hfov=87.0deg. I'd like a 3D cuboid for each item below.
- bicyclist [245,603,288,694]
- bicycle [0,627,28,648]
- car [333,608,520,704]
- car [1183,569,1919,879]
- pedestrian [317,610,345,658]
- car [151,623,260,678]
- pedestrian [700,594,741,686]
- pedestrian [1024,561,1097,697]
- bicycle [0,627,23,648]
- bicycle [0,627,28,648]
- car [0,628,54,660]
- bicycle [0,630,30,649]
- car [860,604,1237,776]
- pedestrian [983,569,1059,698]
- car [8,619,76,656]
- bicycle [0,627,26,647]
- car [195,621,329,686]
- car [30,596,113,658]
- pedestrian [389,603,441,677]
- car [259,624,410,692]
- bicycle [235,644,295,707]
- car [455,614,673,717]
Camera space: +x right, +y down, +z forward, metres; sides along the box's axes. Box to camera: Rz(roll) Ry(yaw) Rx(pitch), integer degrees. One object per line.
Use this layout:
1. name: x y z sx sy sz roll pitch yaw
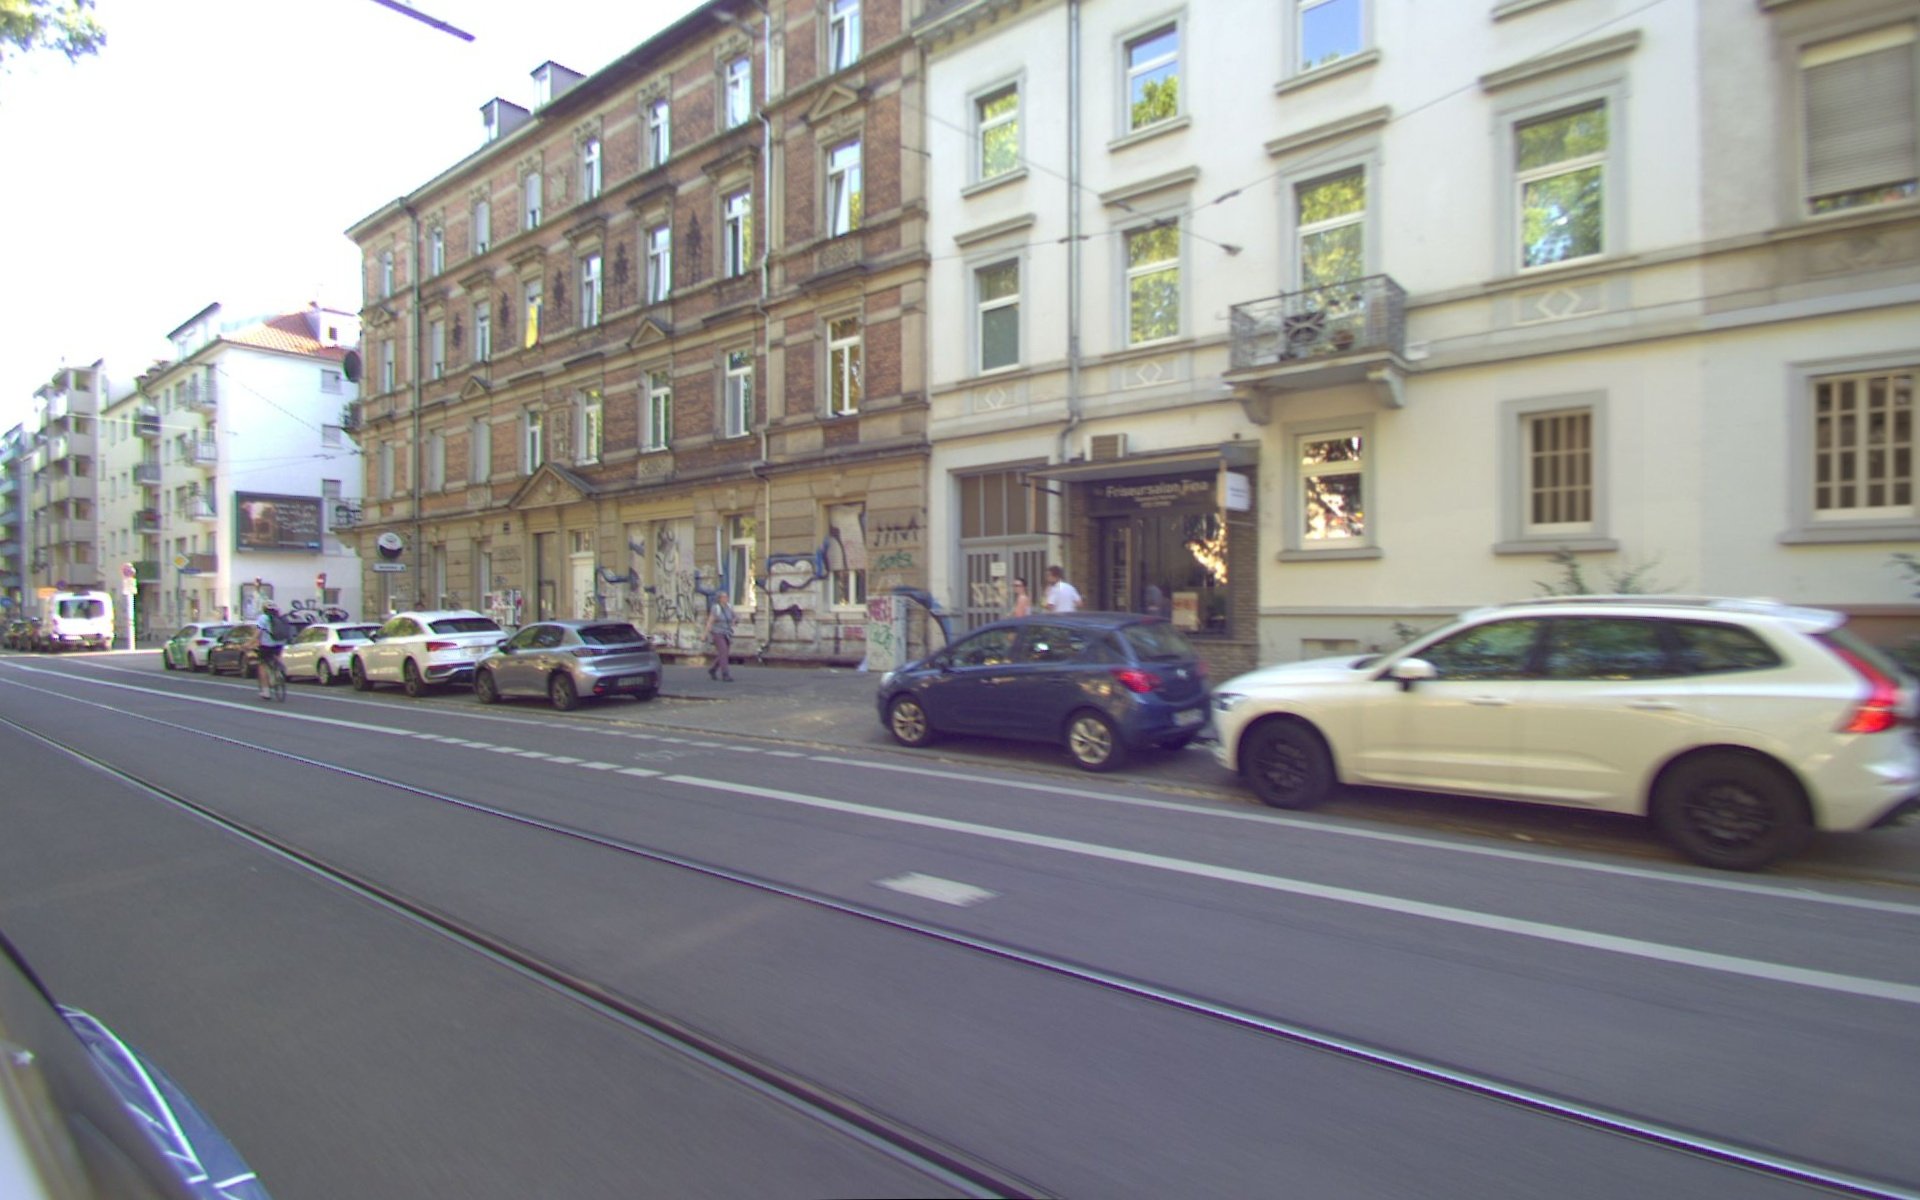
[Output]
1. bicyclist: -12.881 0.890 18.797 0.799 1.648 0.468 -1 -1 41
2. bicycle: -55.377 2.187 58.660 1.945 1.127 0.425 -2 0 -44
3. car: -11.133 1.078 20.984 4.715 1.736 1.768 -1 0 40
4. car: 4.289 0.730 7.713 4.760 1.716 1.837 -1 -1 41
5. pedestrian: -23.436 1.264 37.686 0.893 1.762 0.649 -3 -1 44
6. car: -23.201 1.501 31.072 4.040 1.503 1.724 -1 0 39
7. pedestrian: -4.535 0.740 19.172 0.653 1.678 0.771 -1 0 -18
8. pedestrian: 1.555 0.437 15.628 0.829 2.029 0.752 -1 -1 38
9. bicycle: -55.839 2.195 58.892 1.938 1.127 0.440 -2 0 -44
10. bicycle: -54.500 2.173 57.858 1.768 1.127 0.425 -2 0 -44
11. car: -47.119 2.189 51.000 4.570 1.467 1.700 -1 -1 42
12. bicycle: -53.552 2.226 56.880 1.871 1.045 0.402 -2 0 -44
13. car: 0.808 0.840 10.889 3.923 1.527 1.537 -1 -1 43
14. pedestrian: 0.905 0.490 14.950 0.828 1.835 0.752 -1 -1 37
15. car: -43.002 1.714 47.360 4.341 1.644 1.702 -1 -1 39
16. bicycle: -56.127 2.198 59.361 1.908 1.127 0.440 -2 0 -44
17. car: -19.168 1.405 27.720 4.781 1.574 1.724 -1 0 39
18. car: -38.875 1.137 44.237 5.664 2.555 2.043 -1 -1 42
19. pedestrian: -13.728 0.997 25.504 1.053 1.814 0.679 -1 0 31
20. car: -15.051 1.335 24.303 3.992 1.431 1.684 -1 0 36
21. bicycle: -13.002 1.383 18.917 1.845 1.094 0.476 -1 -1 41
22. car: -6.910 1.044 17.499 4.059 1.532 1.647 -1 0 38
